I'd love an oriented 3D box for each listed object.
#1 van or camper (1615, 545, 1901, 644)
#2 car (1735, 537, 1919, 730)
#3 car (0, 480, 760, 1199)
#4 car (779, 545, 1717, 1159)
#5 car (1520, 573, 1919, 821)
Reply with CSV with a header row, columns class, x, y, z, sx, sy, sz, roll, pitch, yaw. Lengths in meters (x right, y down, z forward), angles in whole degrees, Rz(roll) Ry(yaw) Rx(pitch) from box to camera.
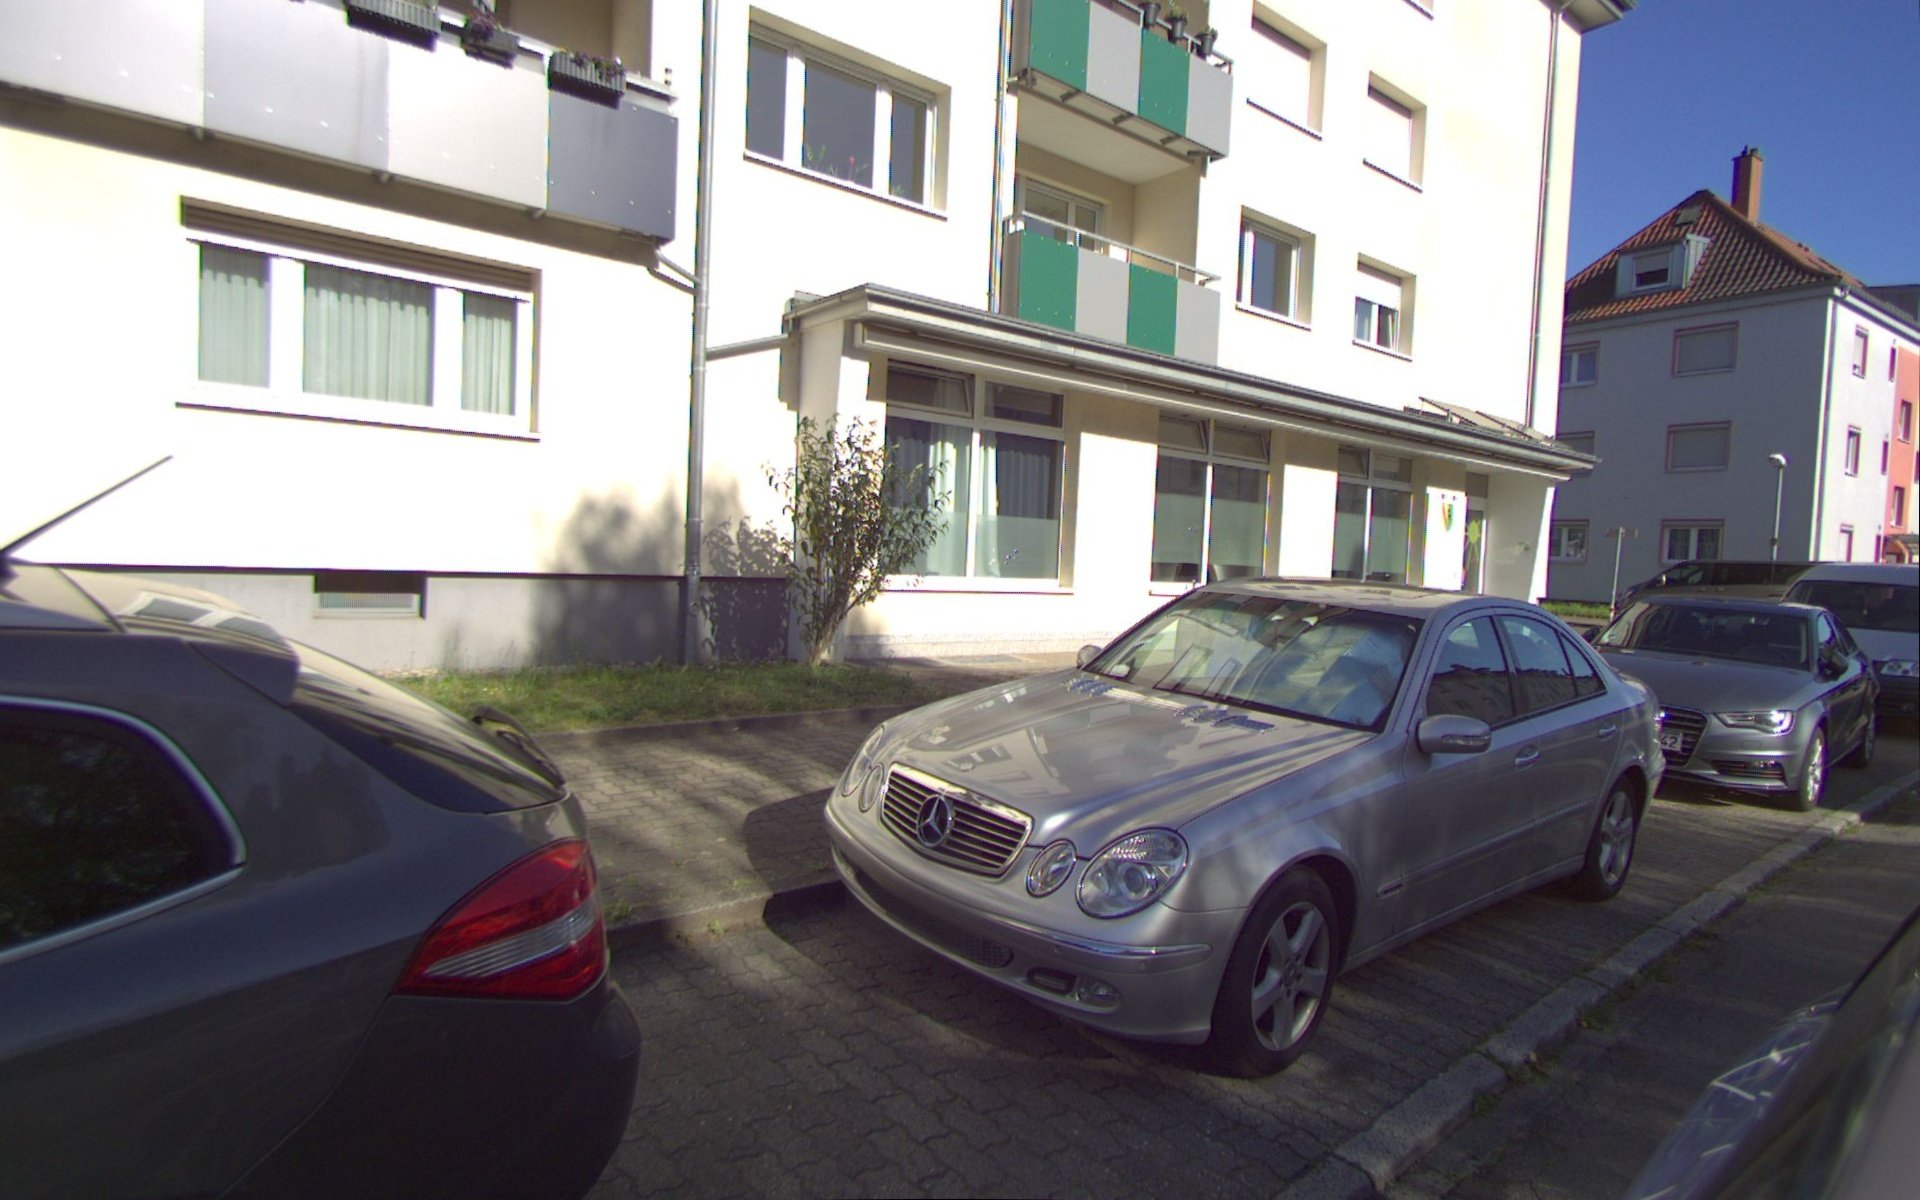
class,x,y,z,sx,sy,sz,roll,pitch,yaw
van or camper,19.632,-0.211,25.175,1.962,2.038,5.142,3,3,-36
car,10.807,0.306,11.767,4.055,1.845,1.753,0,5,-38
car,-2.569,0.596,0.644,1.696,1.447,4.615,11,8,42
car,1.660,0.546,4.536,4.639,1.464,1.682,-1,3,-39
car,6.482,0.582,8.391,4.466,1.423,1.682,0,6,-41
